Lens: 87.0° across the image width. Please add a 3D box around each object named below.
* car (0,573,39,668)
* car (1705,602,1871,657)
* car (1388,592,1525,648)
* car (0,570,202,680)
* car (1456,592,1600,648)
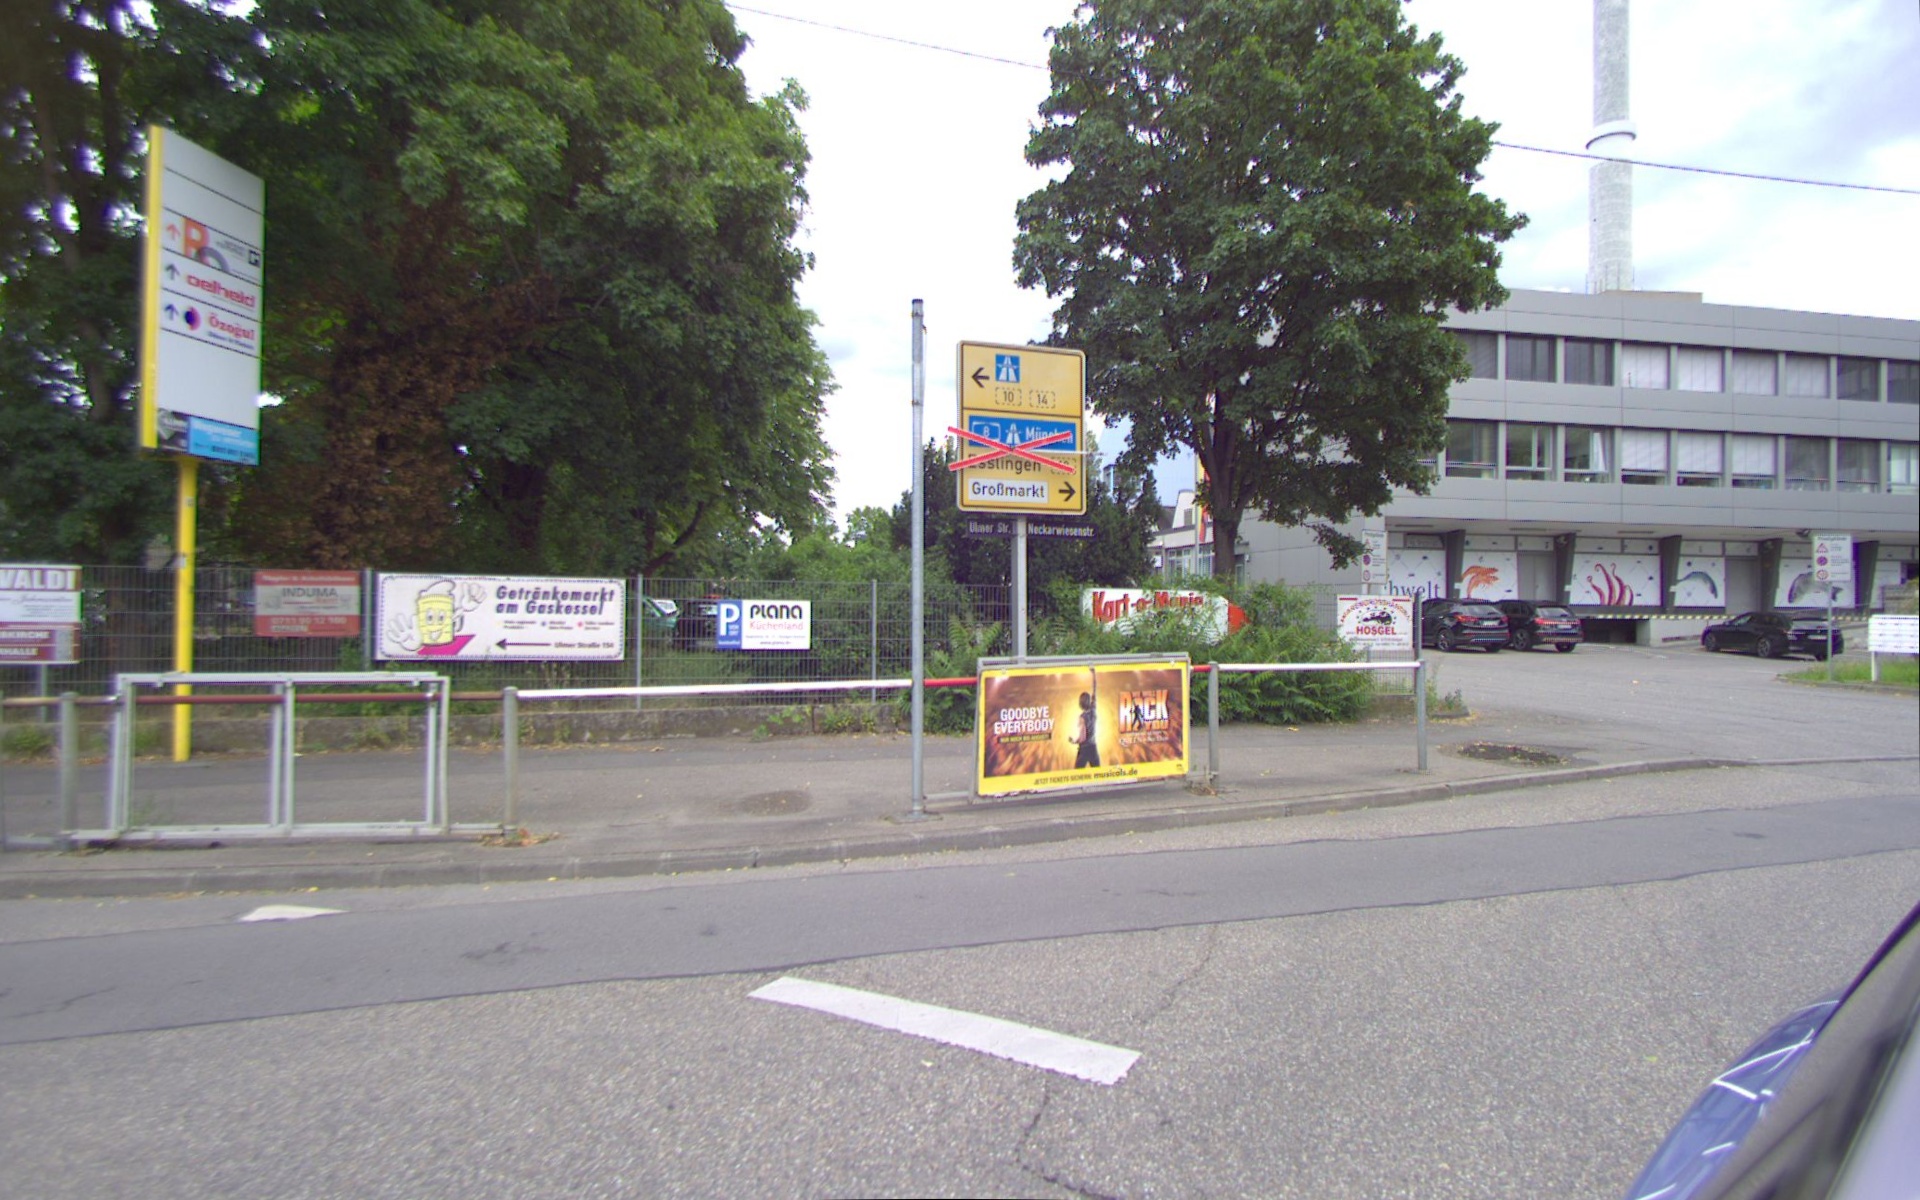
[{"bbox_3d":[-17.103,0.337,16.264,1.558,1.633,4.326,0,-1,-15],"label":"car"},{"bbox_3d":[27.044,0.907,33.320,2.017,1.463,4.818,1,2,9],"label":"car"},{"bbox_3d":[16.227,0.606,33.358,1.801,1.638,4.472,1,1,-8],"label":"car"},{"bbox_3d":[-14.537,0.395,16.932,1.558,1.633,4.007,0,-1,-15],"label":"car"},{"bbox_3d":[18.953,0.618,34.024,1.801,1.638,4.431,1,1,-9],"label":"car"}]
